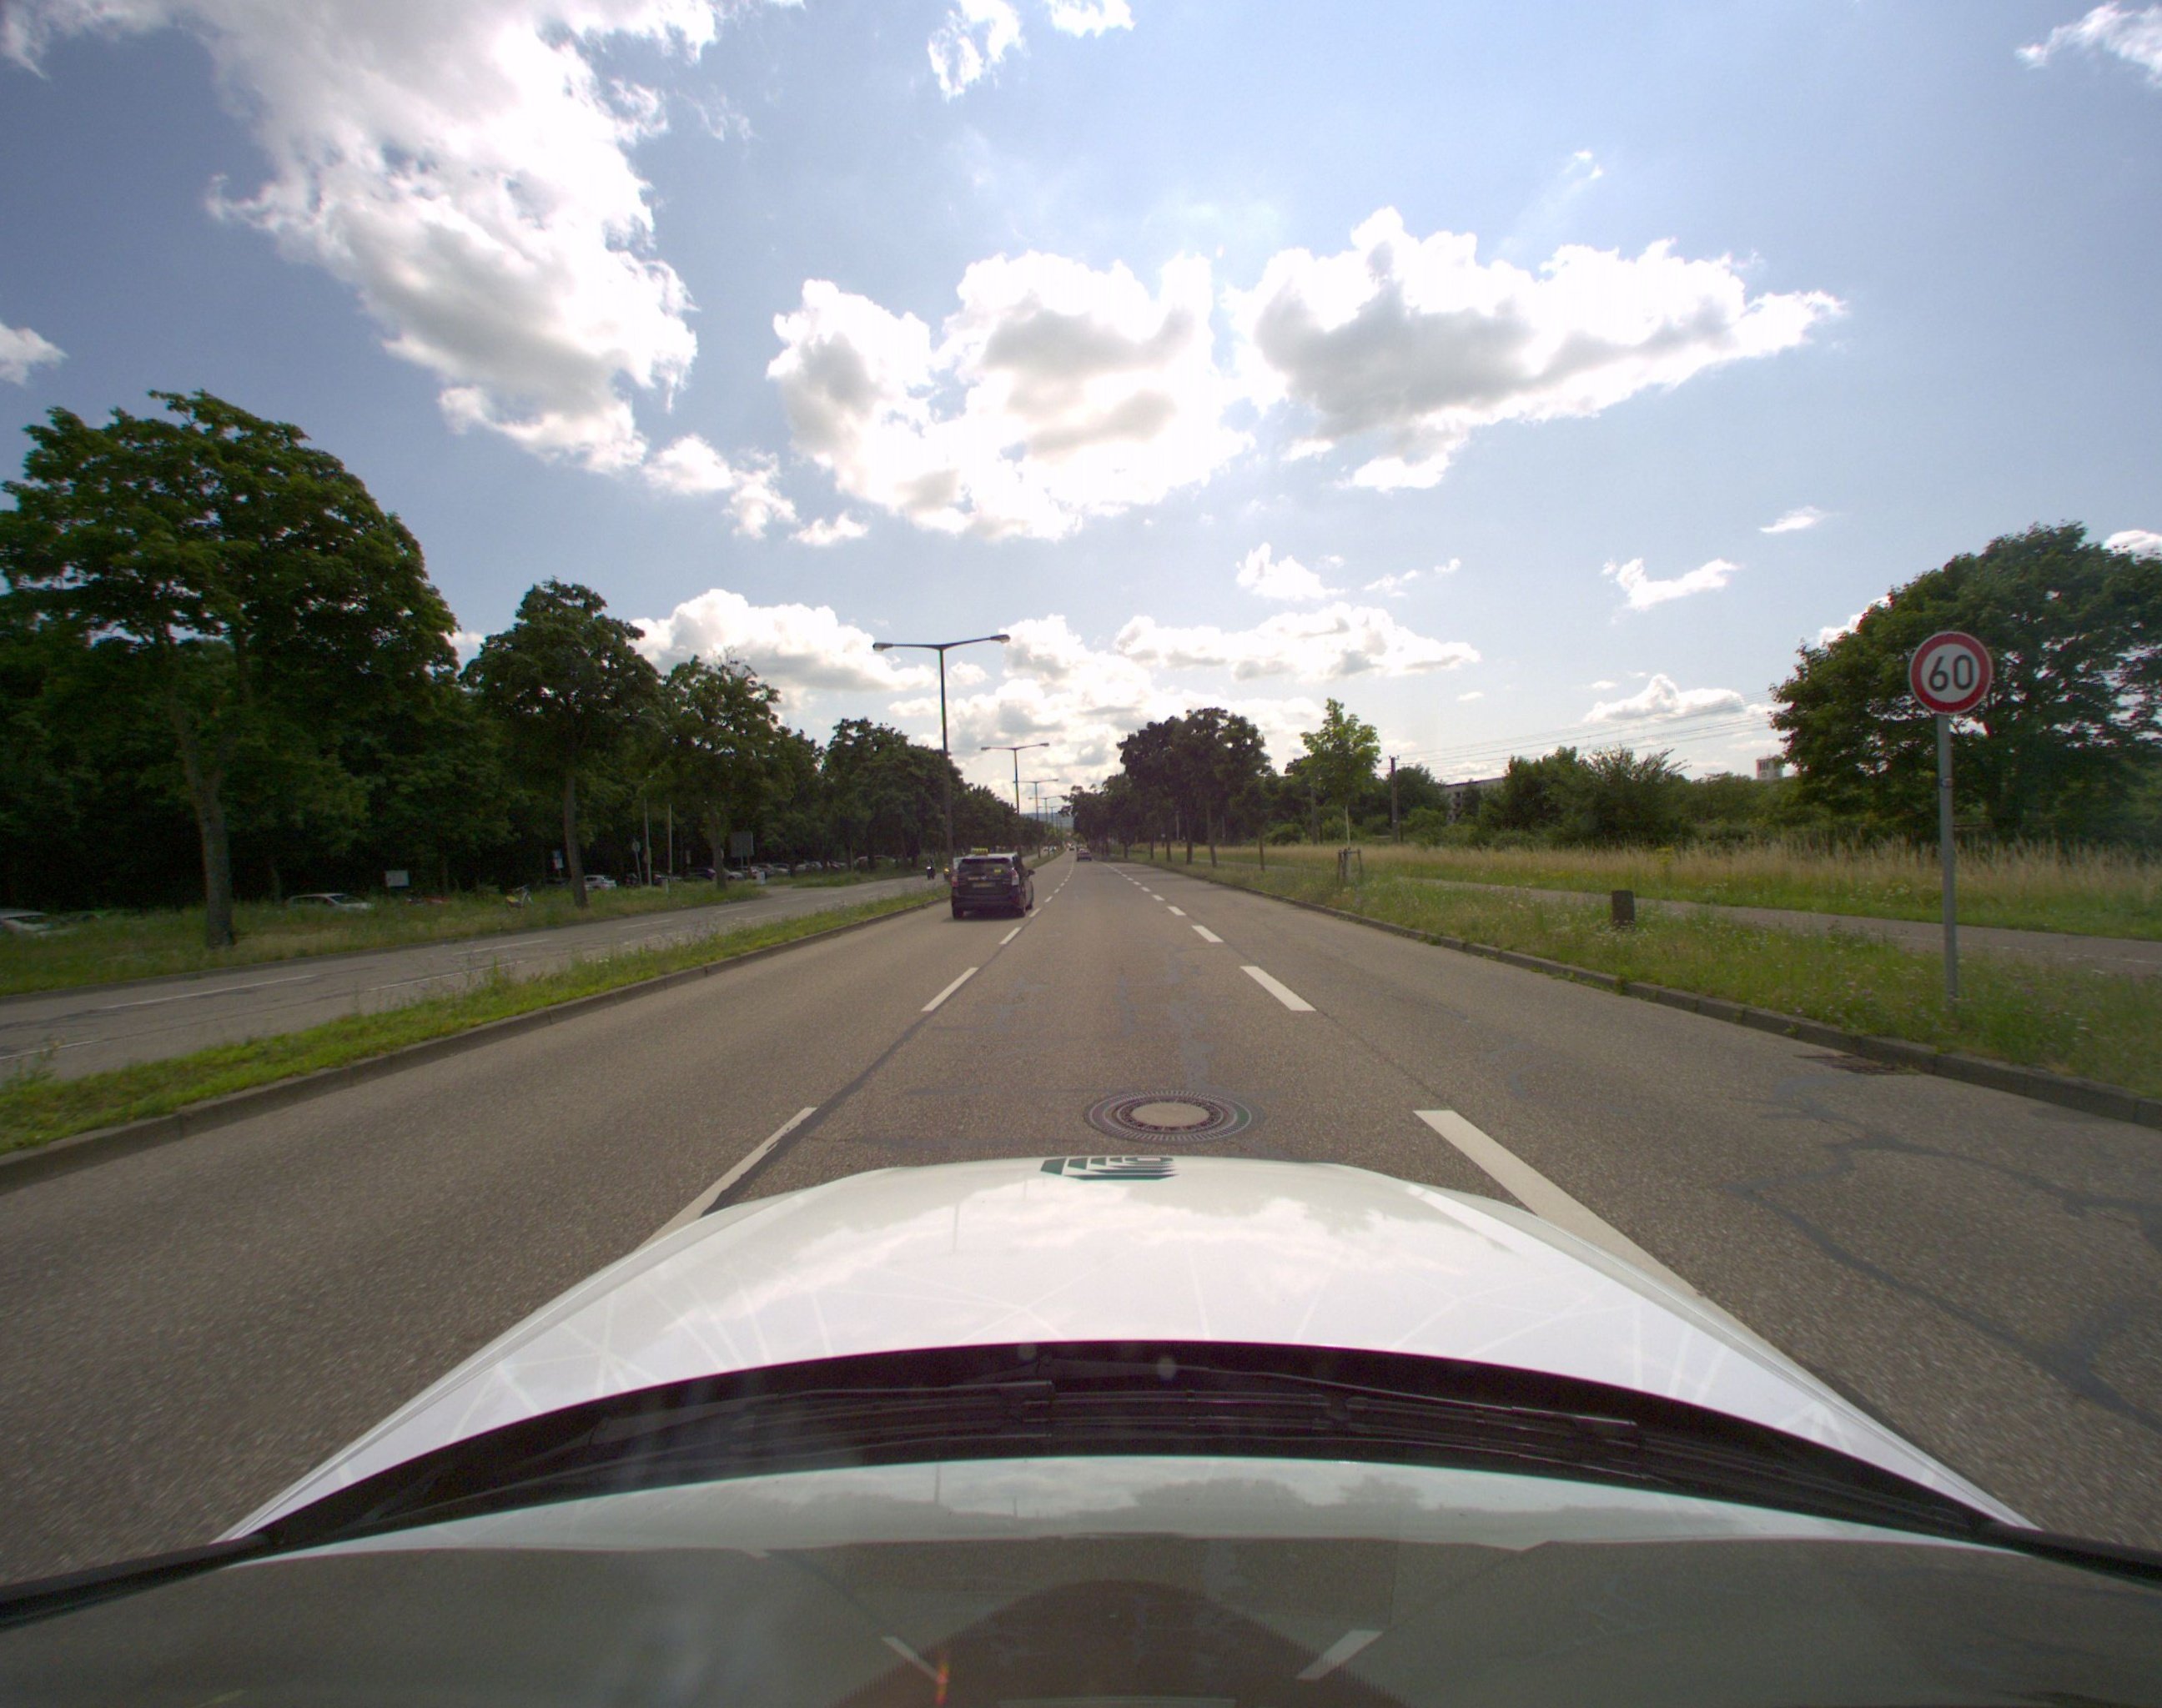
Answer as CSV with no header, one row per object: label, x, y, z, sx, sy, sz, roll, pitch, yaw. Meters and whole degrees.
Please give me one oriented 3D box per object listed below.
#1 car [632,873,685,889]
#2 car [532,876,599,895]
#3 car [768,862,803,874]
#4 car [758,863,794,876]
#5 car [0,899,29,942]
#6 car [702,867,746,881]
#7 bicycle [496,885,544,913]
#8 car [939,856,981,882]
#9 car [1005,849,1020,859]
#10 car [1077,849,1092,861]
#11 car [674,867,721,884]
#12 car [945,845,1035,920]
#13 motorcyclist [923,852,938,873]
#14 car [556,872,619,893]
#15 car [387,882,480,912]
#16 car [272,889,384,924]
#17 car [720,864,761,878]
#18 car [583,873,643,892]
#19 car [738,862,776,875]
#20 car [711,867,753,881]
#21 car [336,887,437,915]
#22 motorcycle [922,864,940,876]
car,-37.874,2.386,73.114,3.772,1.247,1.786,-1,1,0
car,-38.176,2.312,60.321,3.770,1.247,1.786,-1,1,2
car,-37.888,1.787,104.584,3.768,1.387,1.788,-1,1,4
car,-37.556,1.898,100.287,3.768,1.387,1.788,-1,1,4
car,-41.257,2.485,29.326,3.976,1.519,1.999,-1,1,-2
car,-37.814,2.096,86.320,3.768,1.387,1.788,-1,1,4
bicycle,-22.606,1.803,32.844,0.565,0.978,1.918,-3,0,1
car,-7.709,0.925,52.287,1.804,1.398,4.734,-3,1,1
car,-10.756,0.045,128.030,1.871,1.508,3.802,-1,1,4
car,0.434,0.079,109.879,1.988,1.508,3.999,-1,1,-1
car,-37.937,2.090,80.676,3.768,1.568,1.788,-1,1,4
car,-2.222,0.648,20.956,1.773,1.683,4.001,-1,1,1
motorcyclist,-10.698,0.585,57.946,0.824,1.414,1.329,-1,1,1
car,-38.030,2.194,62.817,3.772,1.428,1.786,-1,1,0
car,-36.477,2.420,45.920,3.770,1.508,1.786,-1,1,2
car,-36.755,2.565,39.810,3.770,1.508,1.786,-1,1,2
car,-37.893,1.907,90.793,3.768,1.387,1.788,-1,1,4
car,-37.818,2.301,65.868,3.772,1.386,1.786,-1,1,0
car,-38.201,1.748,96.056,3.768,1.387,1.788,-1,1,4
car,-37.946,2.160,88.572,3.768,1.387,1.788,-1,1,4
car,-36.566,2.457,42.915,3.770,1.267,1.786,-1,1,2
motorcycle,-10.657,1.143,58.022,0.749,0.772,2.672,-1,1,1
